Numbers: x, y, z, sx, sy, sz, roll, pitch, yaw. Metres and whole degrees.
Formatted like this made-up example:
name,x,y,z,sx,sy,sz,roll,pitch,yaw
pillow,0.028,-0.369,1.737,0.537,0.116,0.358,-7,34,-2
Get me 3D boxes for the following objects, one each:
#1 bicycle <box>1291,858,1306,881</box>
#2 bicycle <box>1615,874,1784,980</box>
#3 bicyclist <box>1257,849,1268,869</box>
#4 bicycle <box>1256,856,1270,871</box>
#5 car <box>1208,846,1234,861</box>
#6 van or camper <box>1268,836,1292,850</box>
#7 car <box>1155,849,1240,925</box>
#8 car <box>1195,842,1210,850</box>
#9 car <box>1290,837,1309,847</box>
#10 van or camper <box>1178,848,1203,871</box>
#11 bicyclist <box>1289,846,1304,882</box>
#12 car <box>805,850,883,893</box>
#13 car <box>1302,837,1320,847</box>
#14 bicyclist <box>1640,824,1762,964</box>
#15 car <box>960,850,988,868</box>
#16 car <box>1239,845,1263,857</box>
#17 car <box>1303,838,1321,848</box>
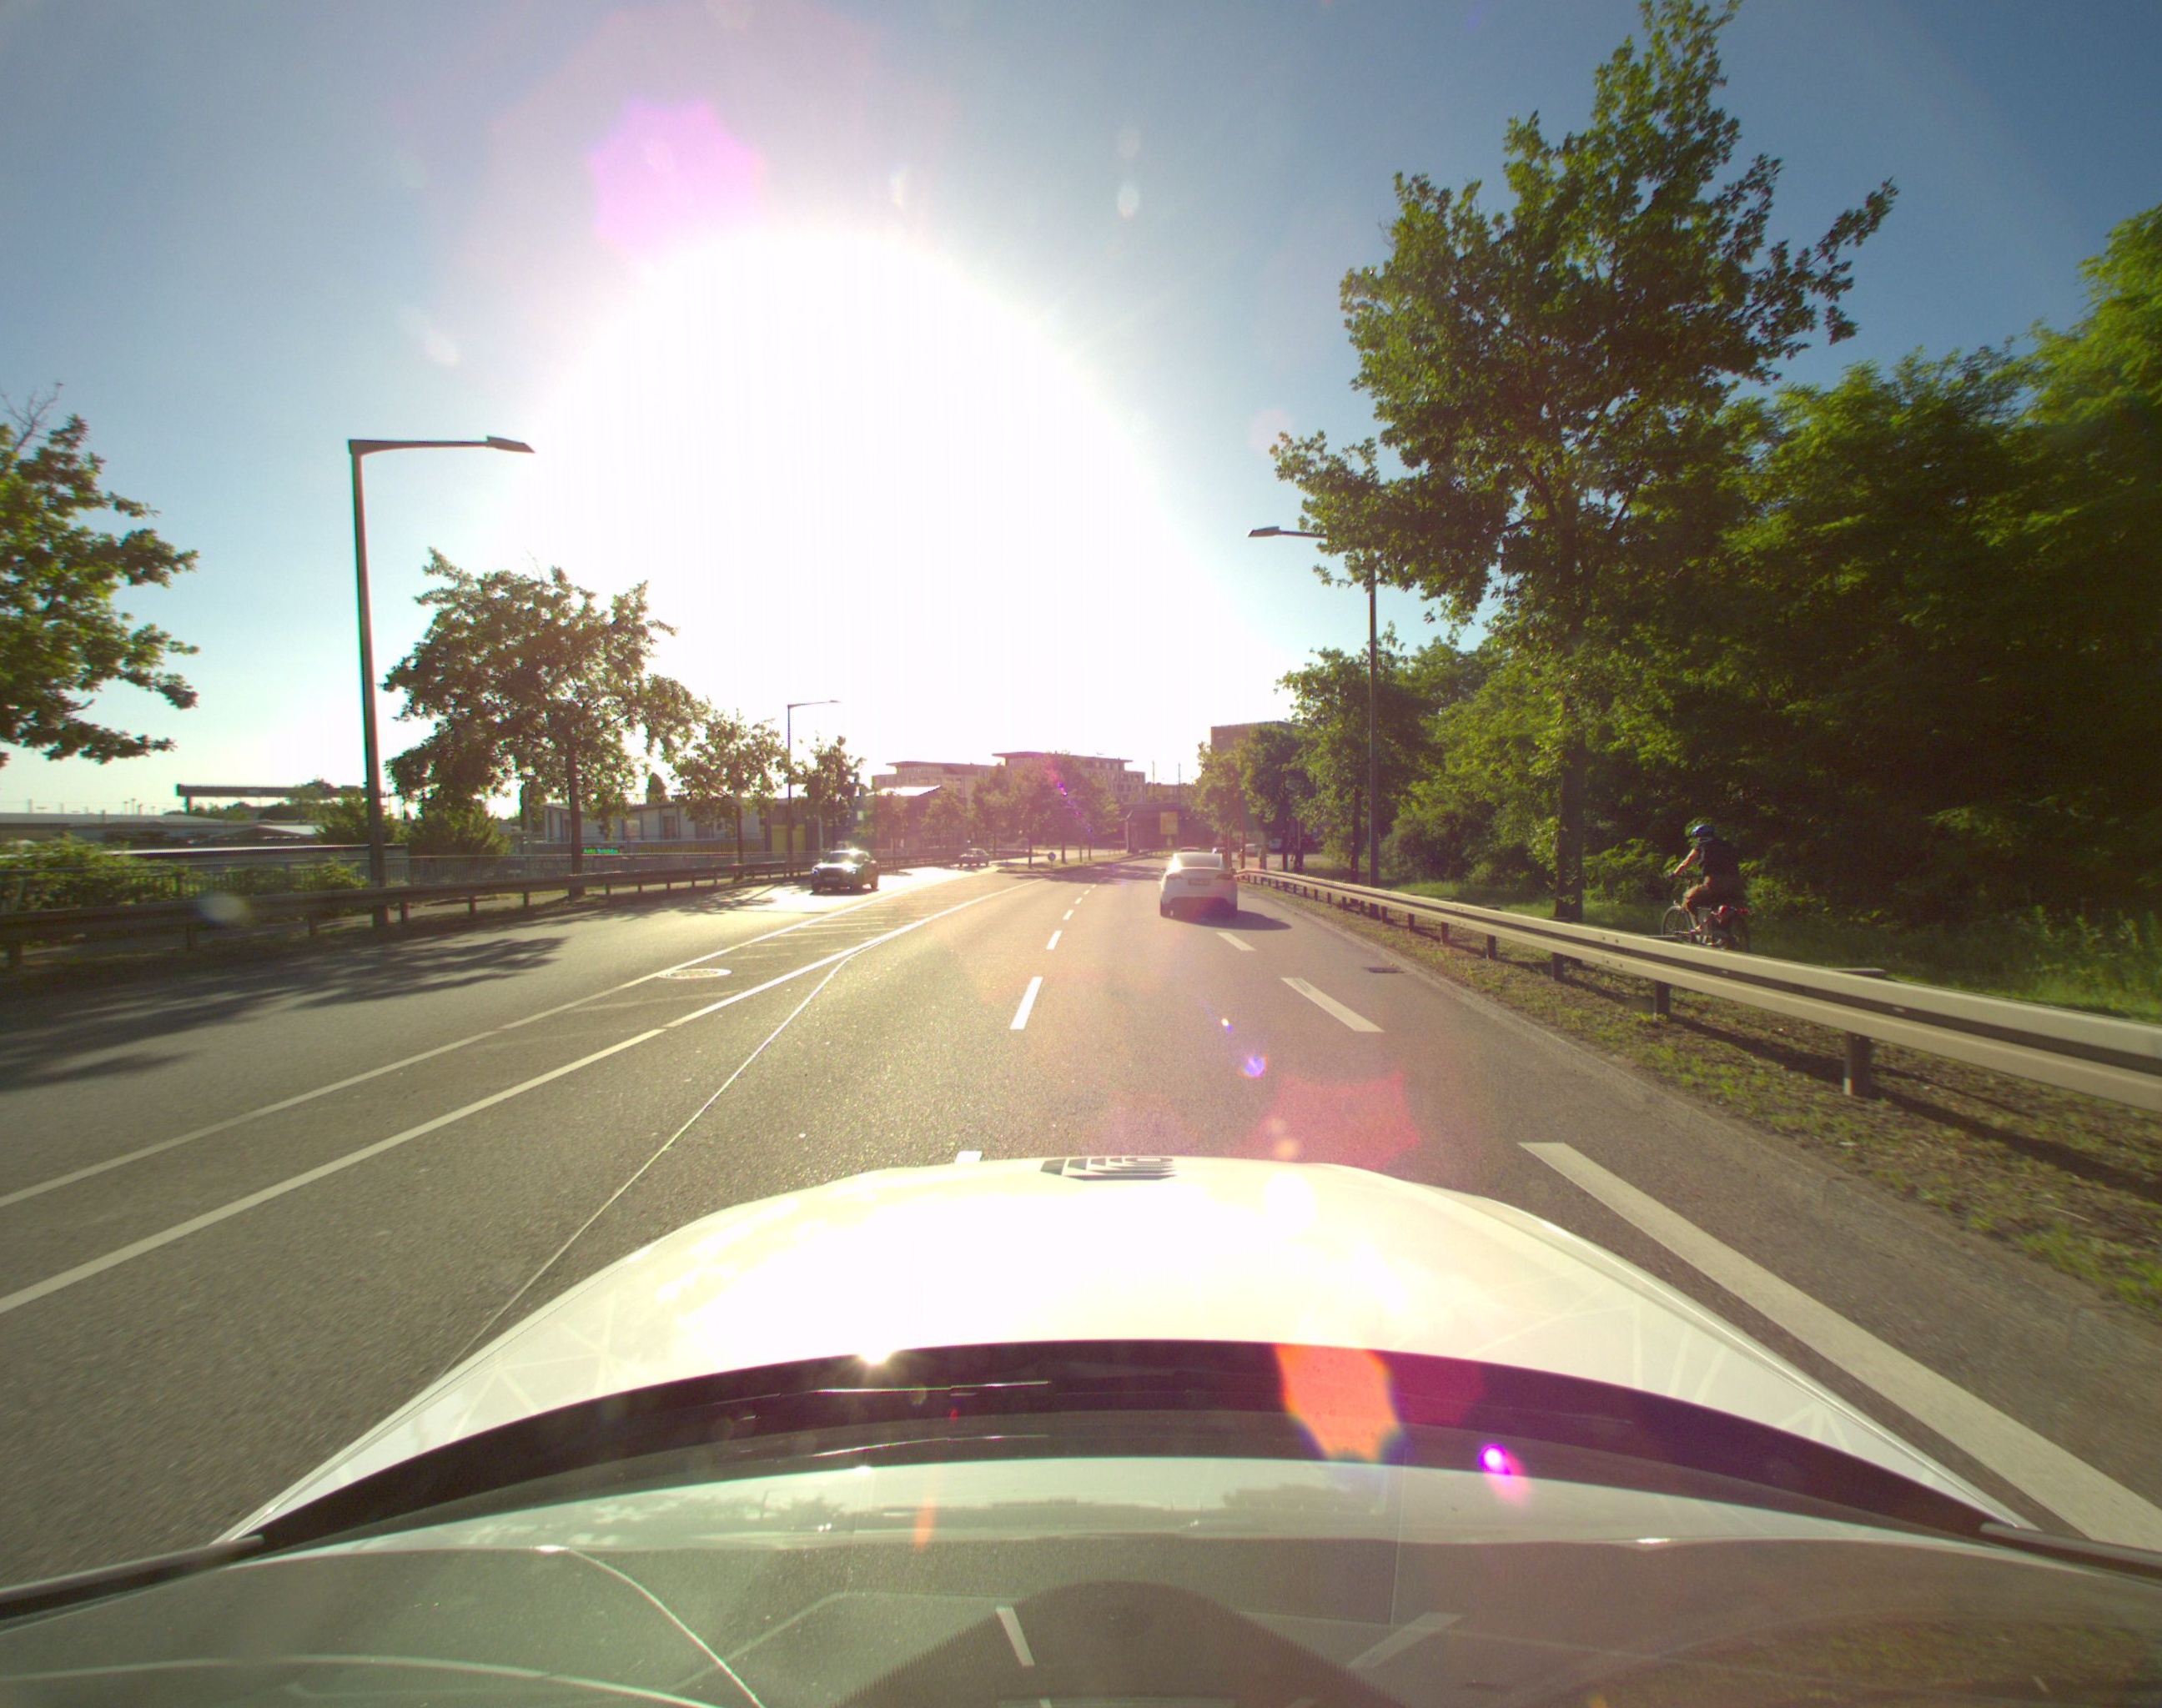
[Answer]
name,x,y,z,sx,sy,sz,roll,pitch,yaw
bicycle,11.200,0.775,42.000,0.690,1.095,2.126,-2,0,15
bicycle,7.422,0.825,9.905,0.697,1.074,1.924,-2,0,5
bicyclist,14.864,0.408,66.696,0.739,1.619,0.917,-2,0,20
bicycle,14.909,0.770,66.723,0.737,1.112,2.464,-2,0,19
car,15.292,-0.043,88.872,1.589,1.434,3.702,2,3,32
van or camper,28.083,-1.583,114.785,1.808,1.790,4.574,2,2,32
car,3.039,0.766,21.405,1.904,1.640,4.420,3,1,7
car,21.045,-1.458,141.257,1.785,1.310,4.638,1,1,19
car,35.181,-1.873,130.928,1.691,1.522,3.767,1,2,36
van or camper,9.277,0.453,69.068,1.948,1.884,4.890,1,0,7
bicyclist,11.069,0.511,41.763,0.670,1.776,0.952,-2,0,14
car,-9.003,0.618,31.286,1.757,1.489,4.275,1,0,-1
car,38.624,-2.067,136.673,1.691,1.522,3.767,1,2,36
bicyclist,7.389,0.450,9.760,0.704,1.578,1.006,-2,0,5
car,-8.739,0.350,66.579,1.724,1.385,4.494,1,0,-1
car,21.237,-0.404,101.637,1.747,1.475,4.315,1,2,27
car,38.738,-1.866,136.694,1.691,1.522,3.767,1,2,36
